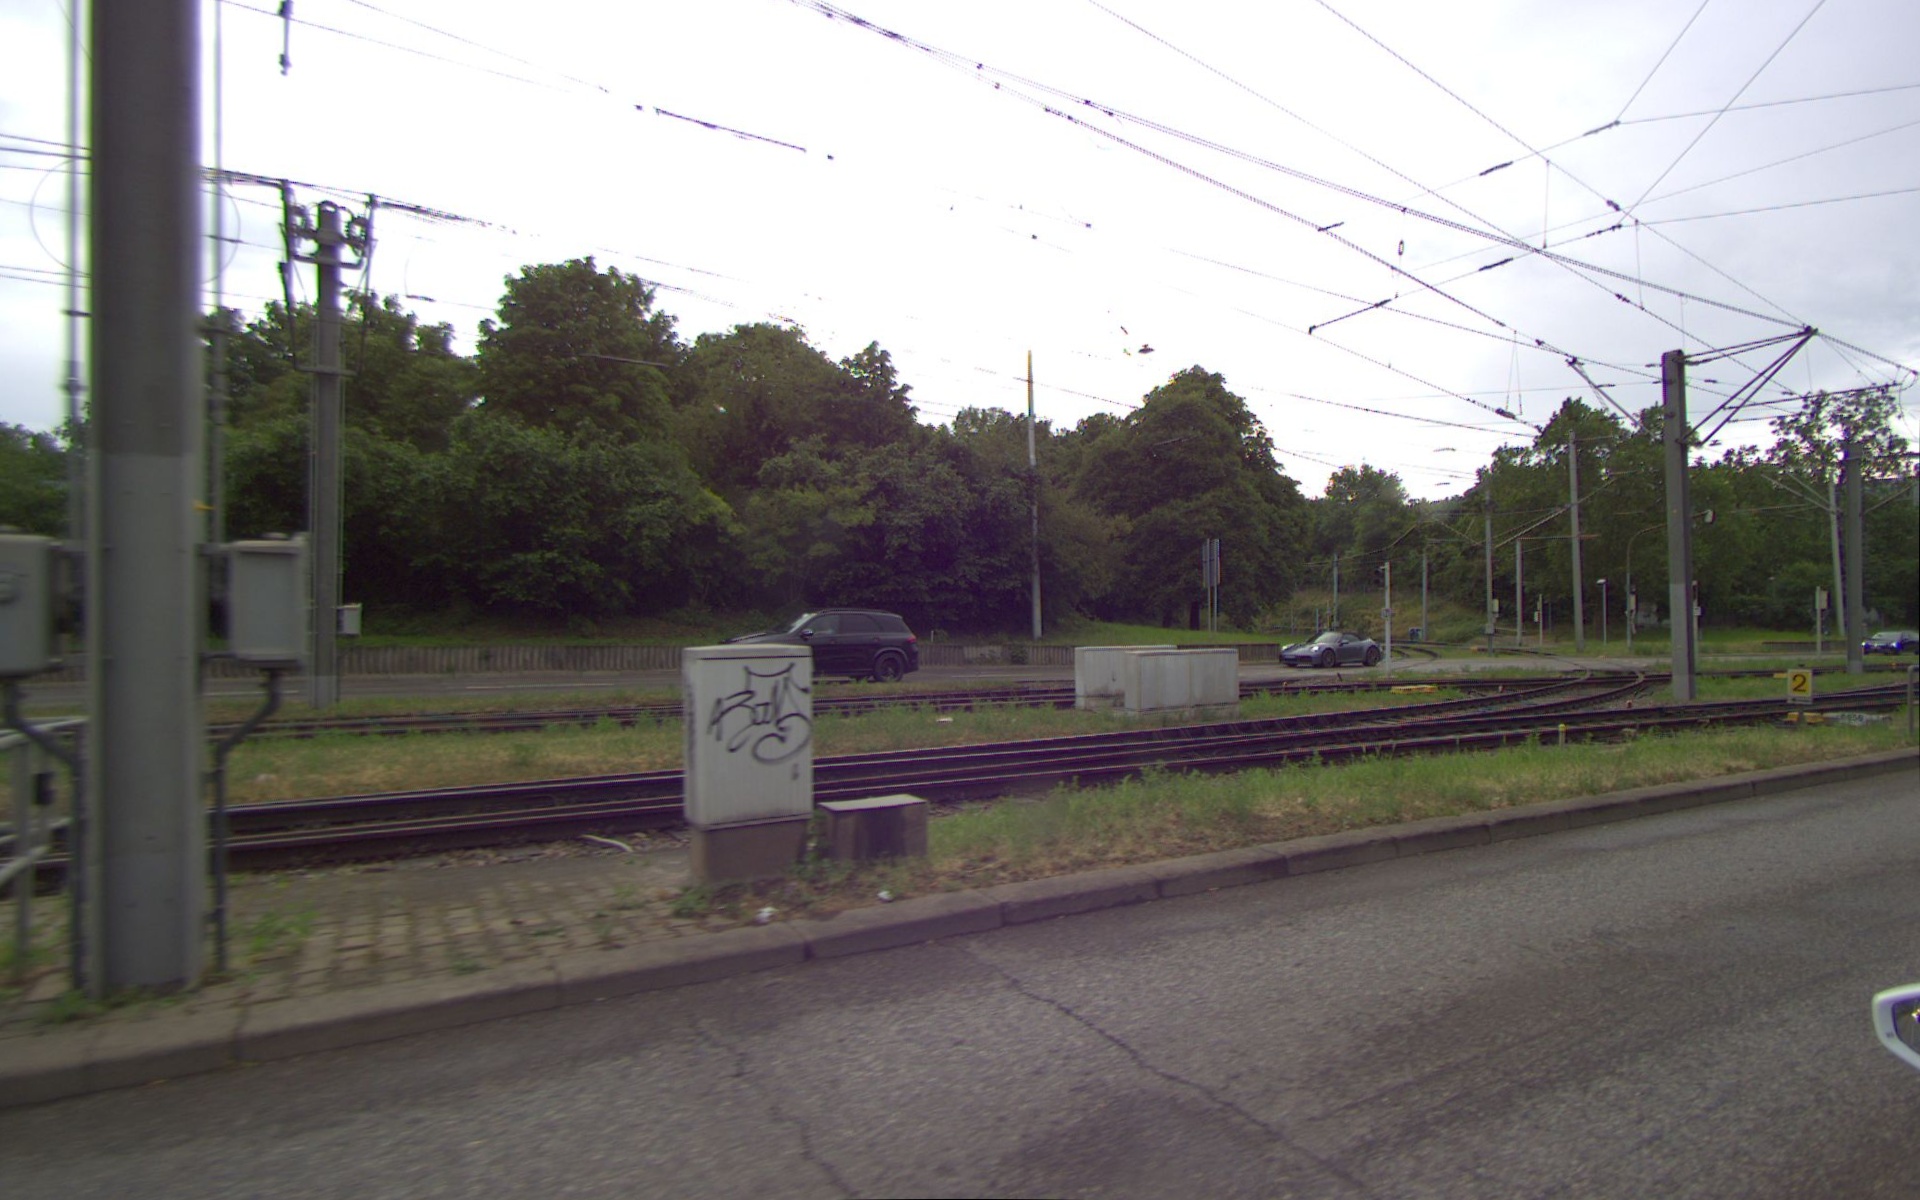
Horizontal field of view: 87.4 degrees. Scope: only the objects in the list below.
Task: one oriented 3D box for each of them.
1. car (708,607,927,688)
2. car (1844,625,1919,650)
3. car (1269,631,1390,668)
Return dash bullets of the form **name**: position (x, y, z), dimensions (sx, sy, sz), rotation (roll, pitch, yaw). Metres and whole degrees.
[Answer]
- **car**: position (-3.362, 1.071, 23.991), dimensions (4.807, 1.762, 2.073), rotation (1, -1, -31)
- **car**: position (55.953, 2.264, 60.897), dimensions (4.619, 1.466, 1.921), rotation (1, -1, -25)
- **car**: position (13.728, 1.799, 37.267), dimensions (4.423, 1.278, 1.917), rotation (1, -1, -31)
